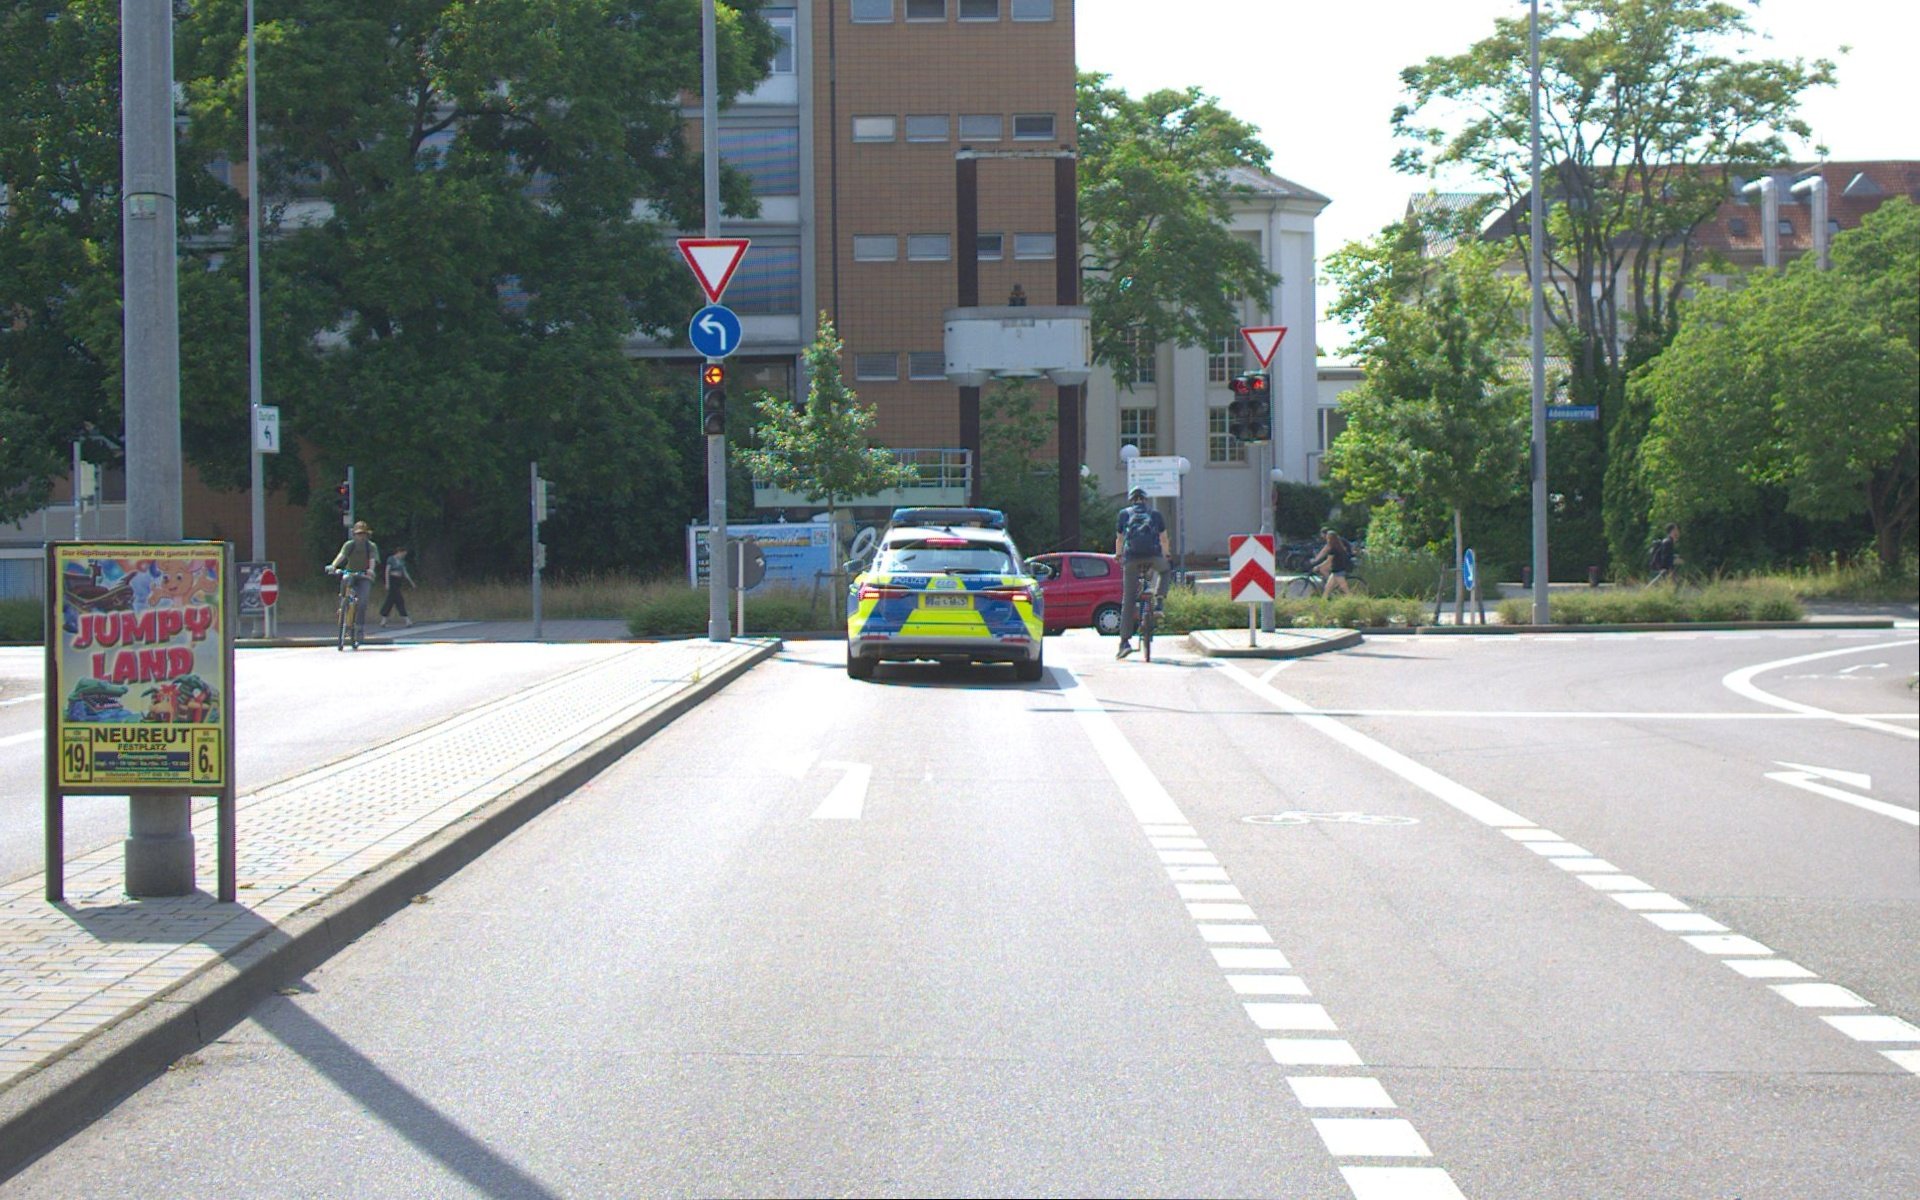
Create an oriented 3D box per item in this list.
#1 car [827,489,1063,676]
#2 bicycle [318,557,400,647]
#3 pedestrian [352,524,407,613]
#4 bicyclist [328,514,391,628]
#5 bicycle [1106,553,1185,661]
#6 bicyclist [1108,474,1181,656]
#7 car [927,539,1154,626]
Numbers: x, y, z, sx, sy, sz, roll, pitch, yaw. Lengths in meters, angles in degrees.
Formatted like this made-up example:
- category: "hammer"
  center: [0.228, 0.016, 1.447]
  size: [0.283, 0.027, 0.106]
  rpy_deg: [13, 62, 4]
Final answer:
- category: "car"
  center: [-0.152, -0.212, 33.528]
  size: [2.130, 1.678, 4.102]
  rpy_deg: [1, 1, 0]
- category: "bicycle"
  center: [-7.873, 0.012, 45.123]
  size: [0.634, 1.080, 2.191]
  rpy_deg: [-1, 2, 1]
- category: "pedestrian"
  center: [-12.419, -0.679, 73.598]
  size: [0.943, 1.876, 0.908]
  rpy_deg: [-1, 1, 3]
- category: "bicyclist"
  center: [-7.879, -0.389, 45.146]
  size: [0.634, 1.465, 0.839]
  rpy_deg: [-1, 2, 1]
- category: "bicycle"
  center: [2.023, 0.058, 37.657]
  size: [0.721, 1.080, 2.191]
  rpy_deg: [-1, 2, 0]
- category: "bicyclist"
  center: [2.017, -0.394, 37.712]
  size: [0.718, 1.966, 0.839]
  rpy_deg: [-1, 2, 0]
- category: "car"
  center: [1.426, -0.309, 60.519]
  size: [3.726, 1.451, 1.625]
  rpy_deg: [-1, 1, 12]
